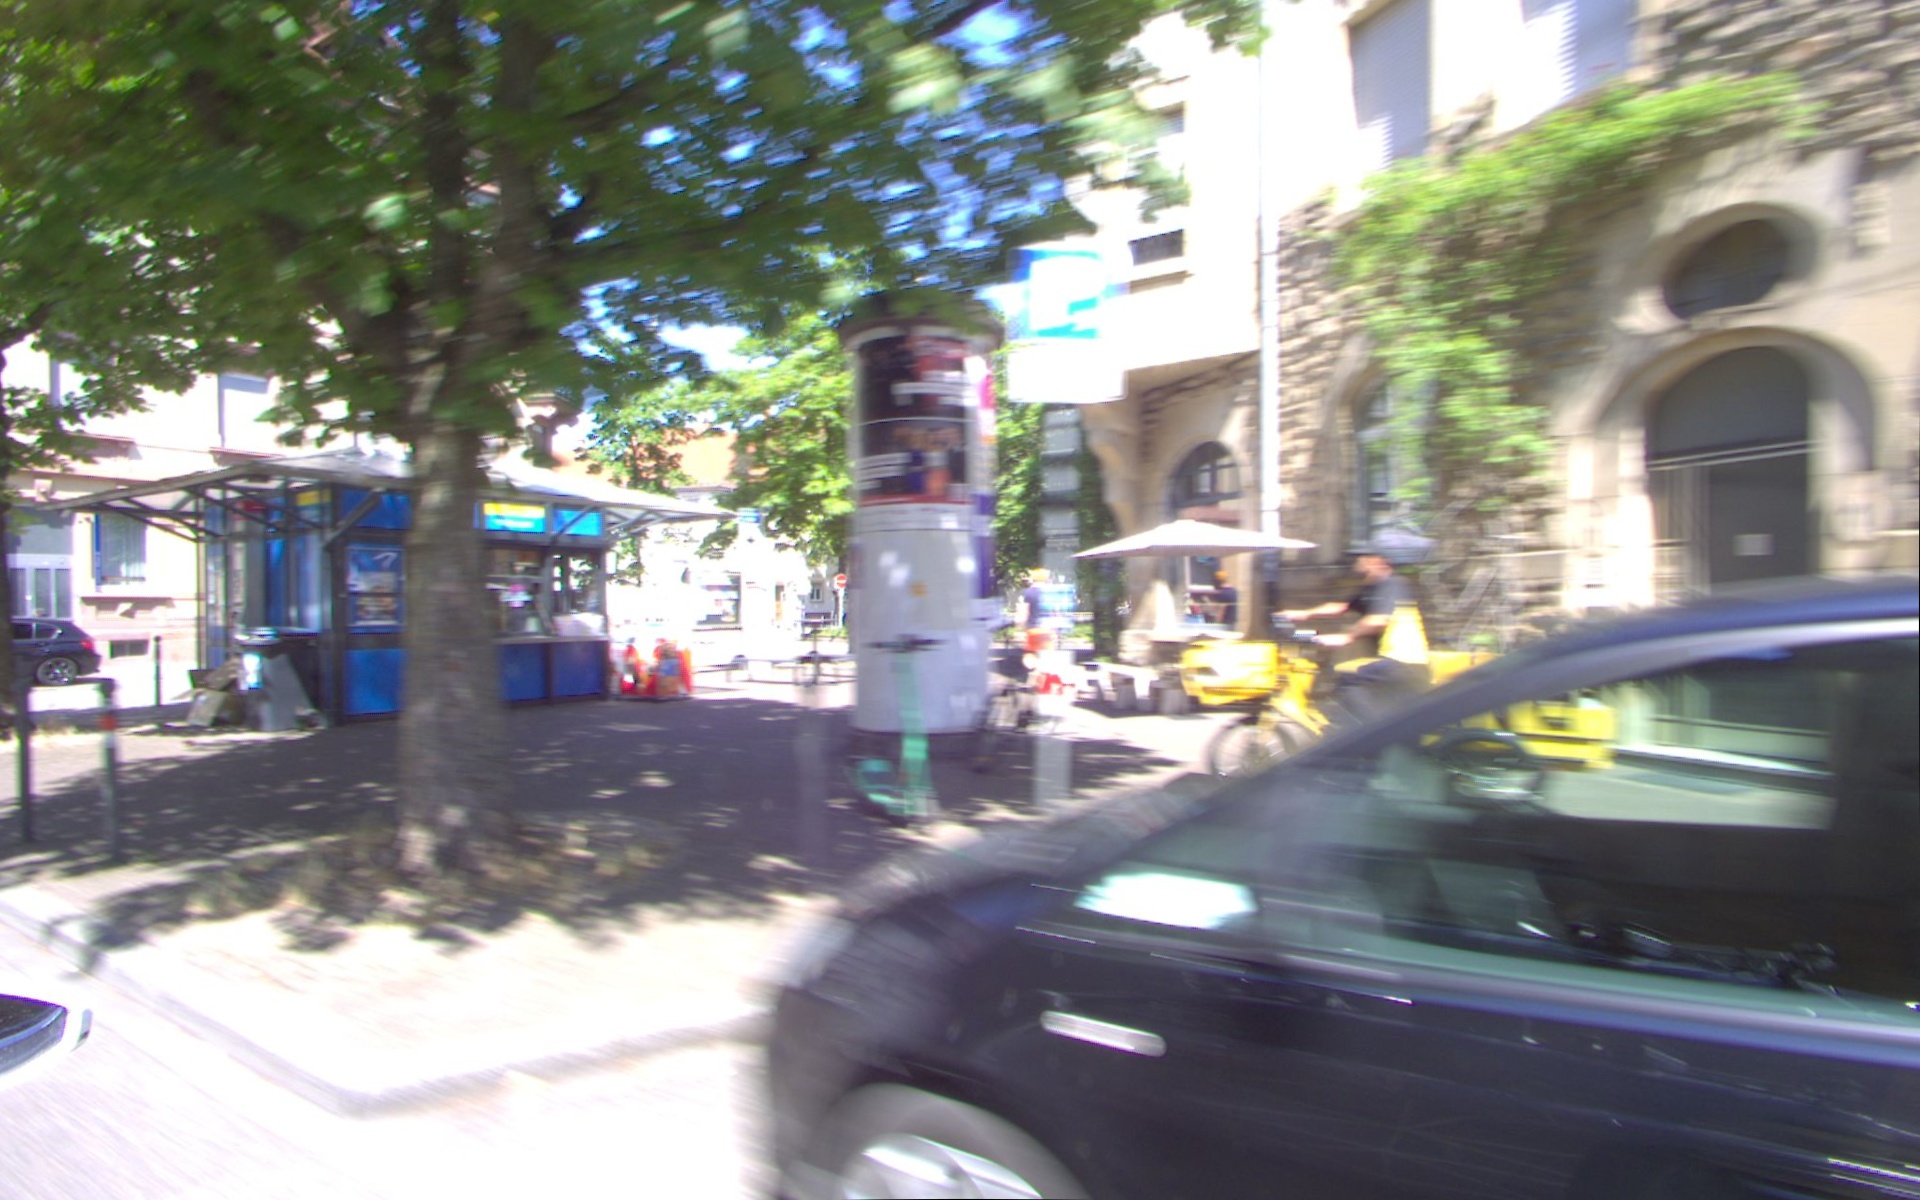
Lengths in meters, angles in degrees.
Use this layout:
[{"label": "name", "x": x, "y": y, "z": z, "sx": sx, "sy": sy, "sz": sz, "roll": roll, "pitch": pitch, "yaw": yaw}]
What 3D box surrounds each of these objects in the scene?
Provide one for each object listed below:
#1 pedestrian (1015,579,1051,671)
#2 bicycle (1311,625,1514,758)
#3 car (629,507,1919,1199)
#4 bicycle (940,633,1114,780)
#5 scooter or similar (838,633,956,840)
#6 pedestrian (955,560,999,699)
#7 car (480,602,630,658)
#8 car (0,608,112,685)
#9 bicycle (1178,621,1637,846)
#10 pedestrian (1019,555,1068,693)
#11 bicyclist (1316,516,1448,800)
[{"label": "pedestrian", "x": 1.488, "y": 0.509, "z": 20.405, "sx": 0.594, "sy": 1.836, "sz": 0.587, "roll": -1, "pitch": 0, "yaw": 18}, {"label": "bicycle", "x": 4.101, "y": 0.783, "z": 9.243, "sx": 0.540, "sy": 1.053, "sz": 1.831, "roll": -1, "pitch": 1, "yaw": -23}, {"label": "car", "x": 1.421, "y": 0.709, "z": 1.854, "sx": 4.119, "sy": 1.560, "sz": 1.660, "roll": -1, "pitch": -2, "yaw": 33}, {"label": "bicycle", "x": 0.635, "y": 0.853, "z": 8.676, "sx": 0.625, "sy": 1.053, "sz": 1.894, "roll": 0, "pitch": 1, "yaw": 34}, {"label": "scooter or similar", "x": -0.428, "y": 0.807, "z": 6.395, "sx": 0.436, "sy": 1.151, "sz": 1.182, "roll": -1, "pitch": 1, "yaw": -19}, {"label": "pedestrian", "x": 0.226, "y": 0.410, "z": 13.997, "sx": 0.510, "sy": 1.893, "sz": 0.653, "roll": -1, "pitch": 0, "yaw": -7}, {"label": "car", "x": -12.307, "y": 0.871, "z": 30.655, "sx": 1.753, "sy": 1.526, "sz": 3.977, "roll": -1, "pitch": 0, "yaw": 33}, {"label": "car", "x": -19.416, "y": 0.908, "z": 19.372, "sx": 1.781, "sy": 1.389, "sz": 4.283, "roll": 2, "pitch": 2, "yaw": 33}, {"label": "bicycle", "x": 2.749, "y": 0.737, "z": 6.364, "sx": 2.541, "sy": 1.184, "sz": 0.792, "roll": -1, "pitch": 1, "yaw": 32}, {"label": "pedestrian", "x": 1.178, "y": 0.344, "z": 14.310, "sx": 0.589, "sy": 1.904, "sz": 0.883, "roll": -1, "pitch": 0, "yaw": -1}, {"label": "bicyclist", "x": 2.683, "y": 0.346, "z": 6.351, "sx": 0.652, "sy": 1.670, "sz": 0.676, "roll": 0, "pitch": 1, "yaw": 34}]
